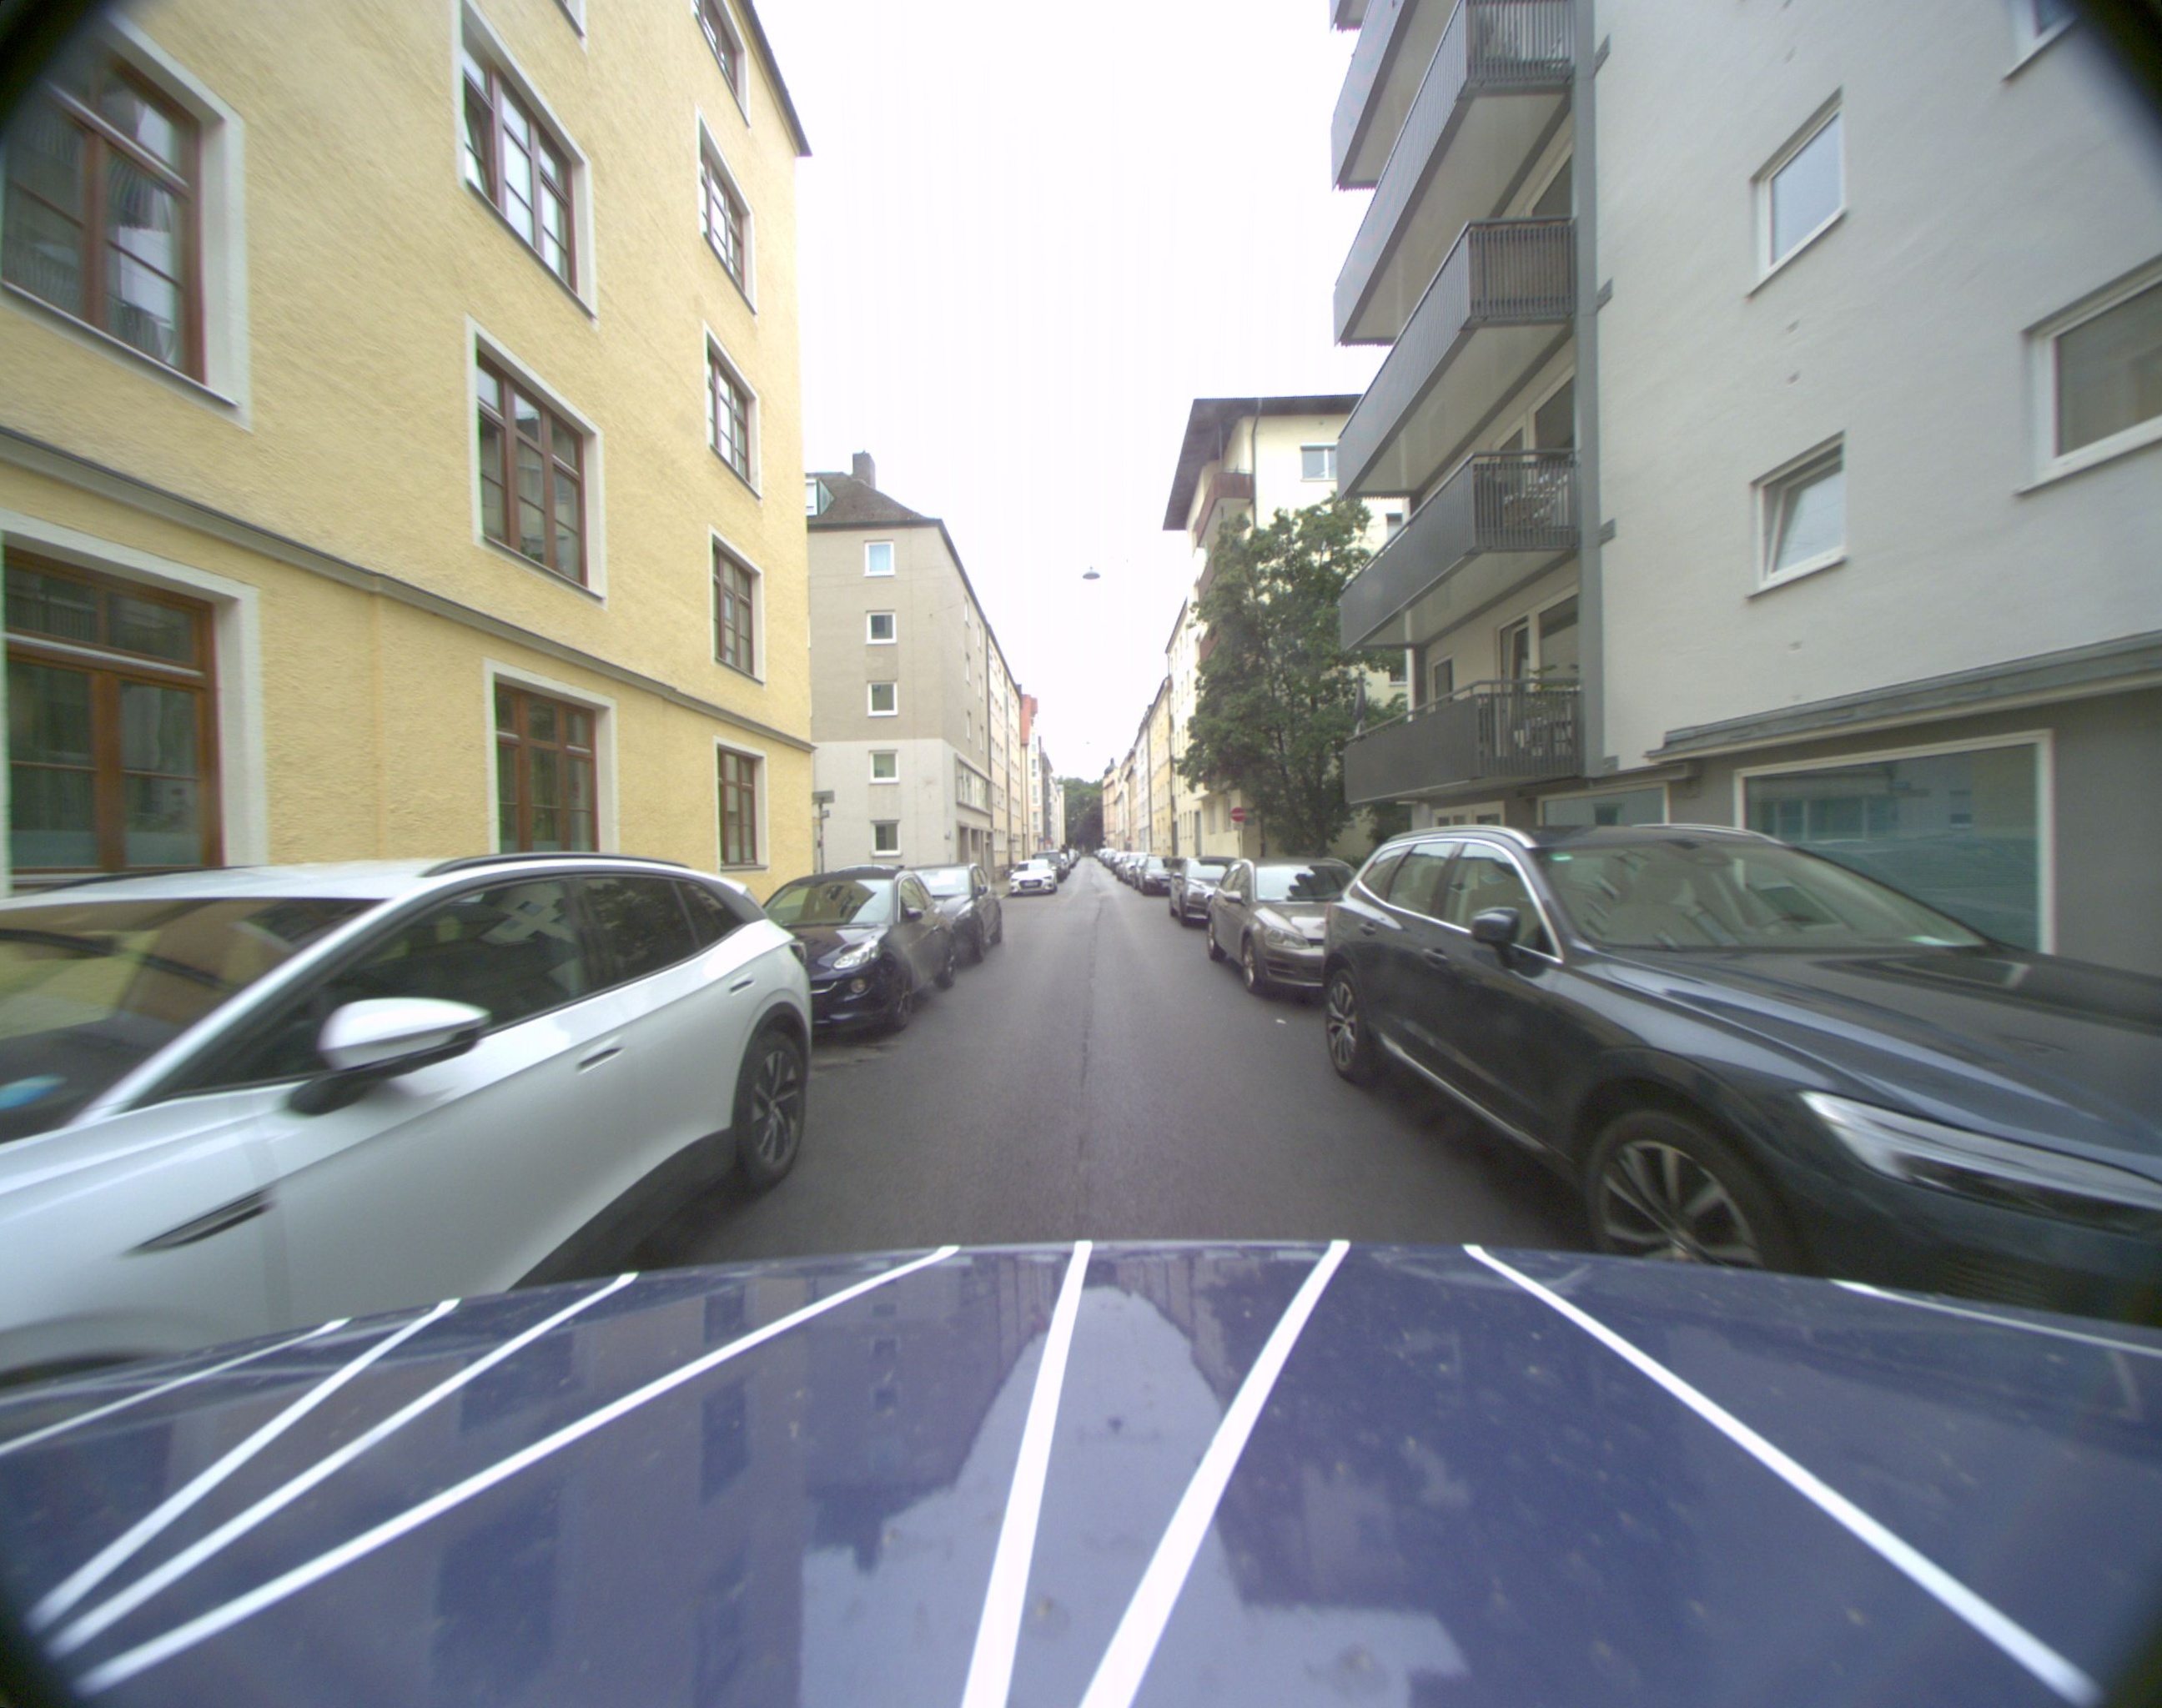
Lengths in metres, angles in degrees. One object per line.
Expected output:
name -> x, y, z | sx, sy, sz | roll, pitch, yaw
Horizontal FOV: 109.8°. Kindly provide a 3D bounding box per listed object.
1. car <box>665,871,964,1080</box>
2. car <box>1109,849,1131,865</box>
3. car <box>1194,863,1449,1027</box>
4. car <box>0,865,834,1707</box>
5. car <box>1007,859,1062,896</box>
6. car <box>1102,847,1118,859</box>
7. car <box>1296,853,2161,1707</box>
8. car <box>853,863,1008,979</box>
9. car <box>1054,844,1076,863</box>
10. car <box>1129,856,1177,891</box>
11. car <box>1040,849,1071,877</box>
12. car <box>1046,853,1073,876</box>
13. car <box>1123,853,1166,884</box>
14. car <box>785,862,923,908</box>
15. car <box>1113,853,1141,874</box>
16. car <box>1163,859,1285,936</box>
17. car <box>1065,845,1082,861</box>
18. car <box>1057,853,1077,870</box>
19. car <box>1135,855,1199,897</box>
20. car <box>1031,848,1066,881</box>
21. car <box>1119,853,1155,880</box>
car -> -2.407, 1.011, 7.948 | 1.691, 1.496, 3.856 | -1, 1, 1
car -> 3.773, 0.295, 73.696 | 1.896, 1.444, 4.296 | -1, 1, 1
car -> 2.610, 0.893, 9.386 | 1.818, 1.433, 4.296 | -1, 1, 1
car -> -2.463, 0.939, 2.114 | 1.966, 1.665, 4.541 | -1, 1, 1
car -> -1.893, 0.932, 32.174 | 1.972, 1.369, 4.296 | -1, 1, 1
car -> 3.715, -0.180, 98.355 | 1.896, 1.444, 4.296 | -1, 1, 1
car -> 2.572, 0.833, 3.387 | 1.972, 1.597, 4.540 | -1, 1, 1
car -> -2.266, 0.950, 12.442 | 1.691, 1.496, 3.856 | -1, 1, 1
car -> -1.443, -0.092, 69.839 | 1.896, 1.621, 4.296 | -1, 1, 1
car -> 3.172, 0.815, 34.159 | 1.769, 1.369, 4.296 | -1, 1, 1
car -> -1.722, 0.596, 51.966 | 1.896, 1.751, 4.296 | -1, 1, 1
car -> -1.591, 0.787, 57.692 | 1.896, 1.621, 4.296 | -1, 1, 1
car -> 3.268, 0.697, 39.592 | 1.896, 1.444, 4.296 | -1, 1, 1
car -> -7.721, 1.046, 26.201 | 4.161, 1.373, 1.972 | -1, 1, -4
car -> 3.408, 0.715, 57.263 | 1.896, 1.444, 4.296 | -1, 1, 1
car -> 3.057, 0.875, 17.137 | 1.972, 1.391, 4.296 | -1, 1, 1
car -> -0.954, -0.133, 99.188 | 1.998, 2.002, 4.564 | -1, 1, 1
car -> -1.460, 0.764, 78.498 | 1.896, 1.621, 4.296 | -1, 1, 1
car -> 3.156, 0.785, 28.628 | 1.972, 1.369, 4.296 | -1, 1, 1
car -> -1.973, 0.605, 47.164 | 1.896, 1.859, 4.296 | -1, 1, 1
car -> 3.276, 0.693, 45.170 | 1.896, 1.444, 4.296 | -1, 1, 1
